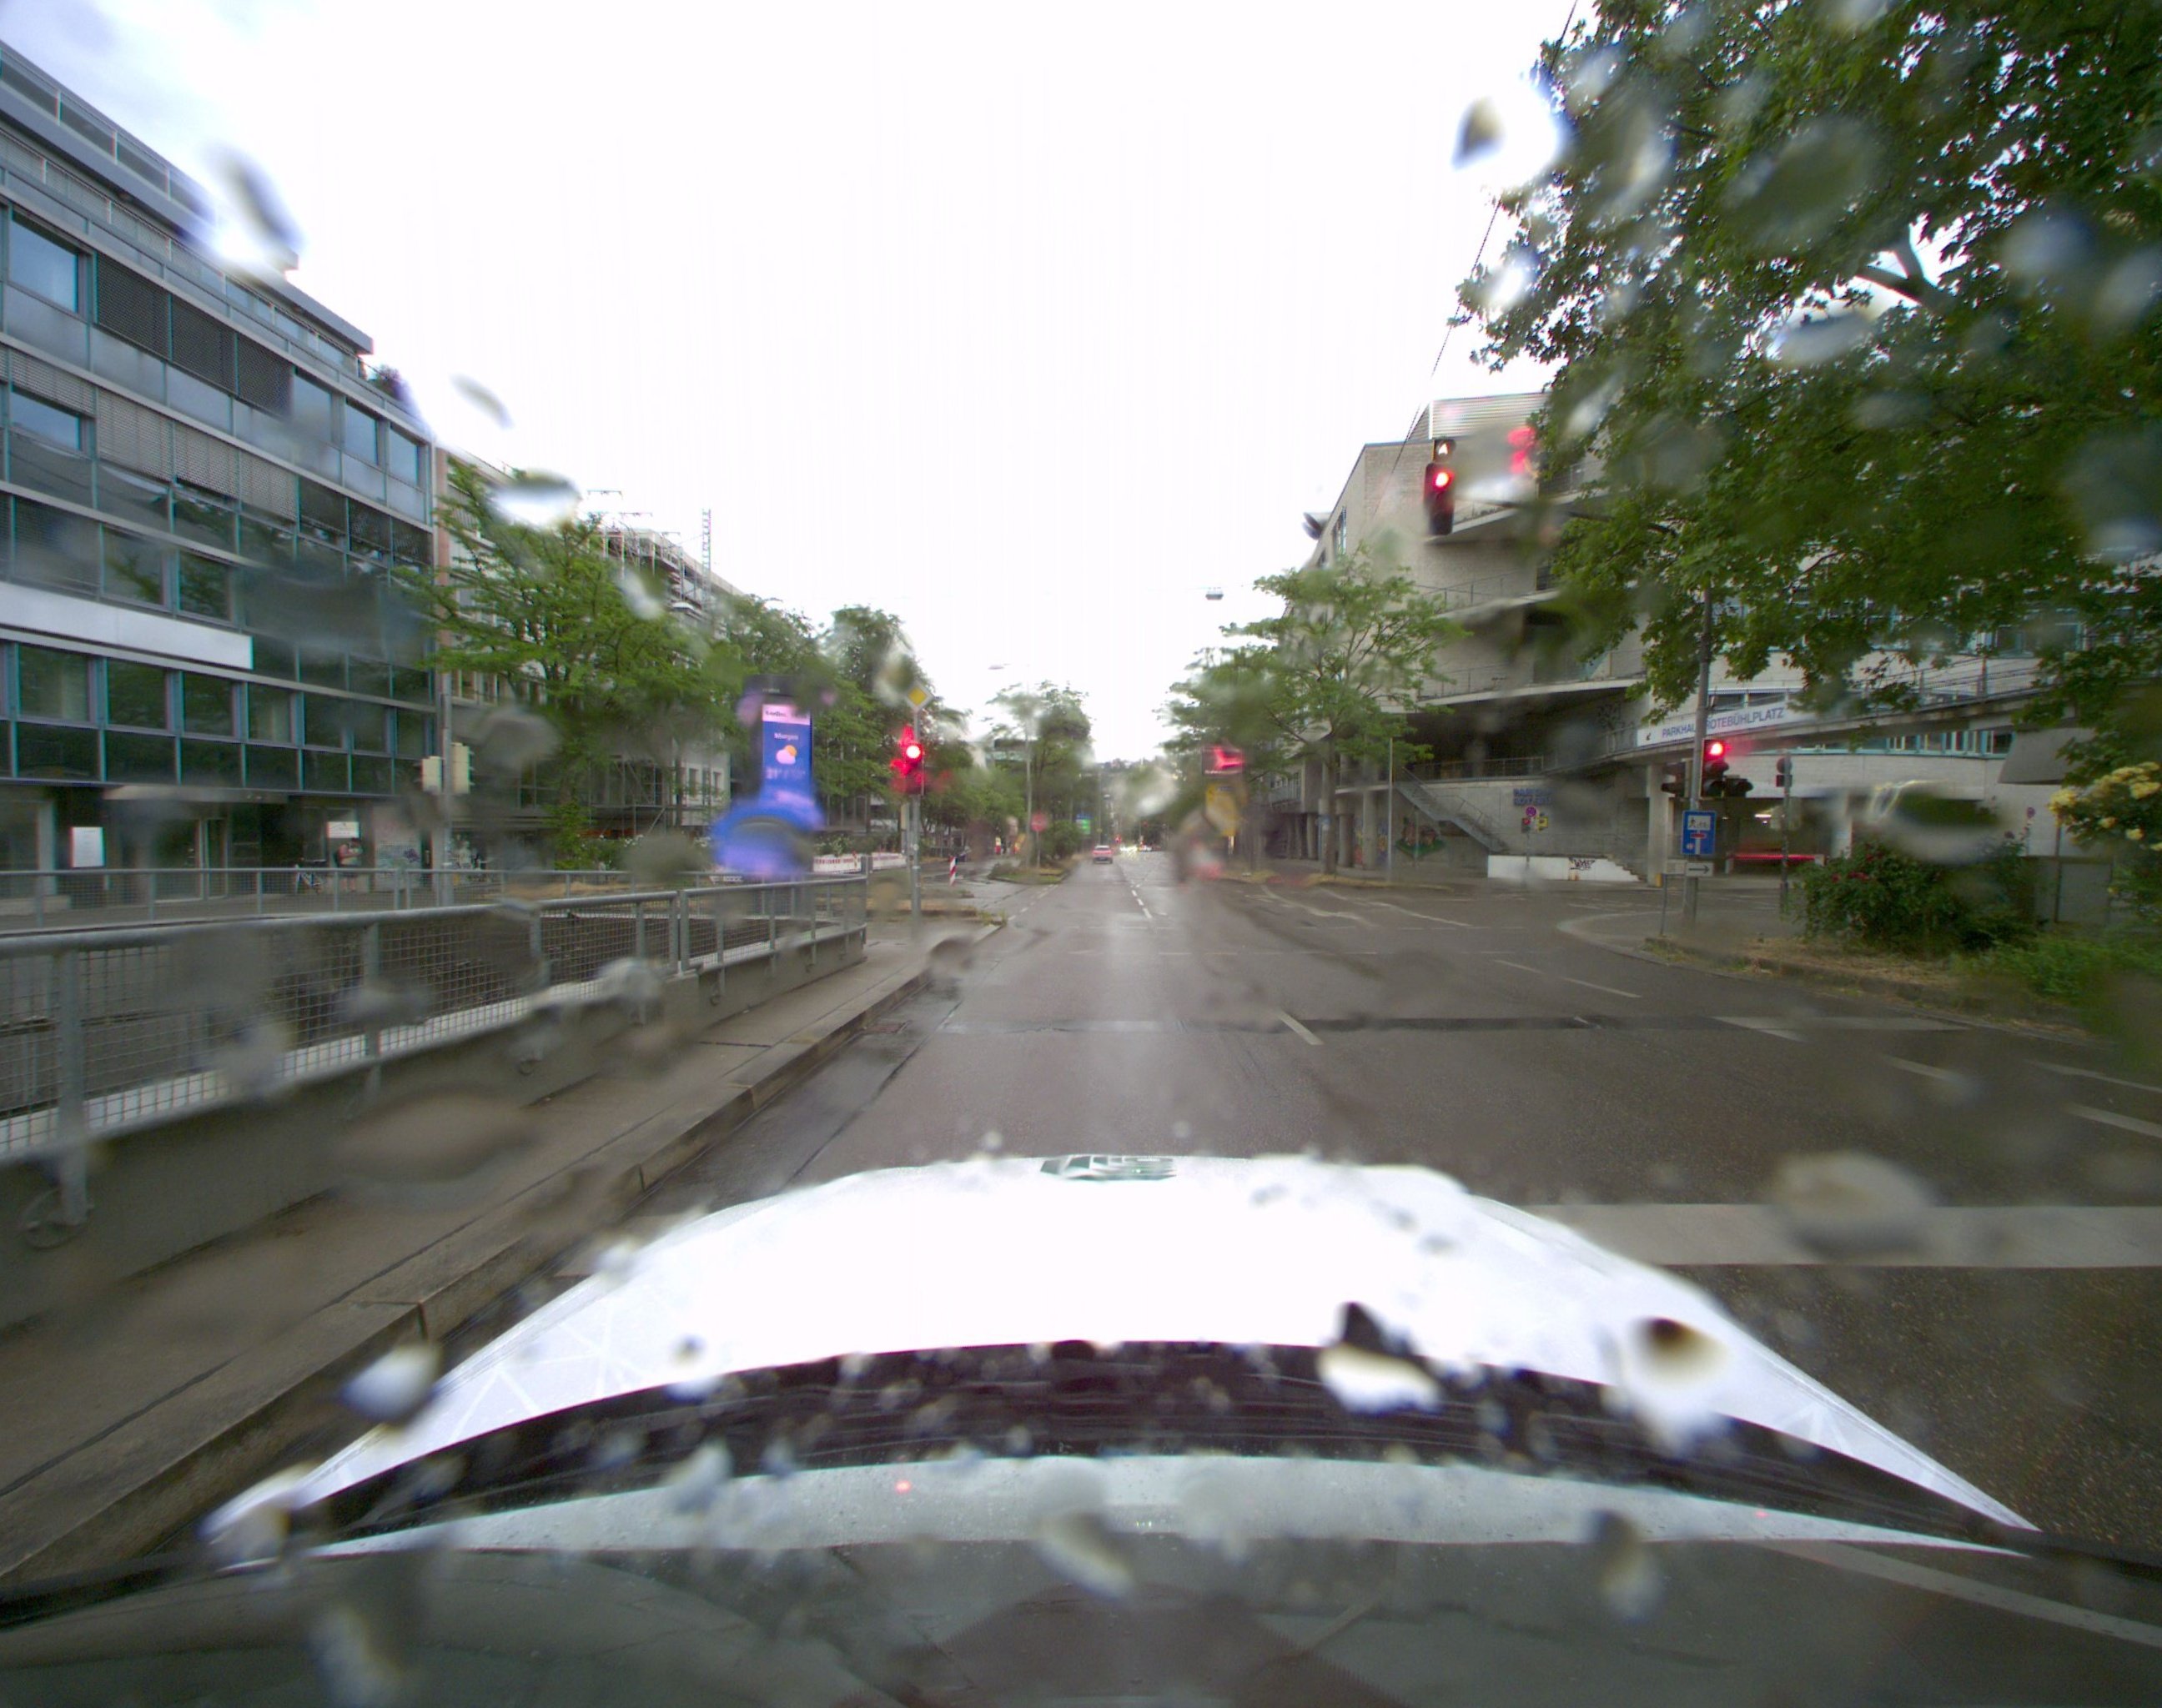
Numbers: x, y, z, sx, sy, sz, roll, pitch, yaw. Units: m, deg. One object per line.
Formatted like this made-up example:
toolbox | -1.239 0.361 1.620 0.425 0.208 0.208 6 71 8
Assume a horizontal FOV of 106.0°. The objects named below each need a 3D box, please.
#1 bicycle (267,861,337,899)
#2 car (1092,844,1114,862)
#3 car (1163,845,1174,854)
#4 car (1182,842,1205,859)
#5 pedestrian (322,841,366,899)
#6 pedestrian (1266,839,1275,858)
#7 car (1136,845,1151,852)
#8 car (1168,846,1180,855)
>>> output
bicycle | -22.954 0.749 24.027 0.444 1.085 1.567 0 0 6
car | 2.004 -0.080 75.301 1.823 1.640 4.299 1 0 0
car | 17.879 -0.844 166.628 1.986 1.736 4.001 0 -1 2
car | 11.544 -0.349 83.329 2.324 1.691 4.010 0 0 9
pedestrian | -22.808 0.485 25.227 0.694 1.741 0.694 1 0 -4
pedestrian | 18.885 -0.545 81.136 0.770 1.920 0.705 -1 -1 11
car | 15.335 -1.314 199.216 1.975 1.758 4.025 1 0 30
car | 17.641 -0.648 155.047 1.986 1.723 4.001 0 -1 1
